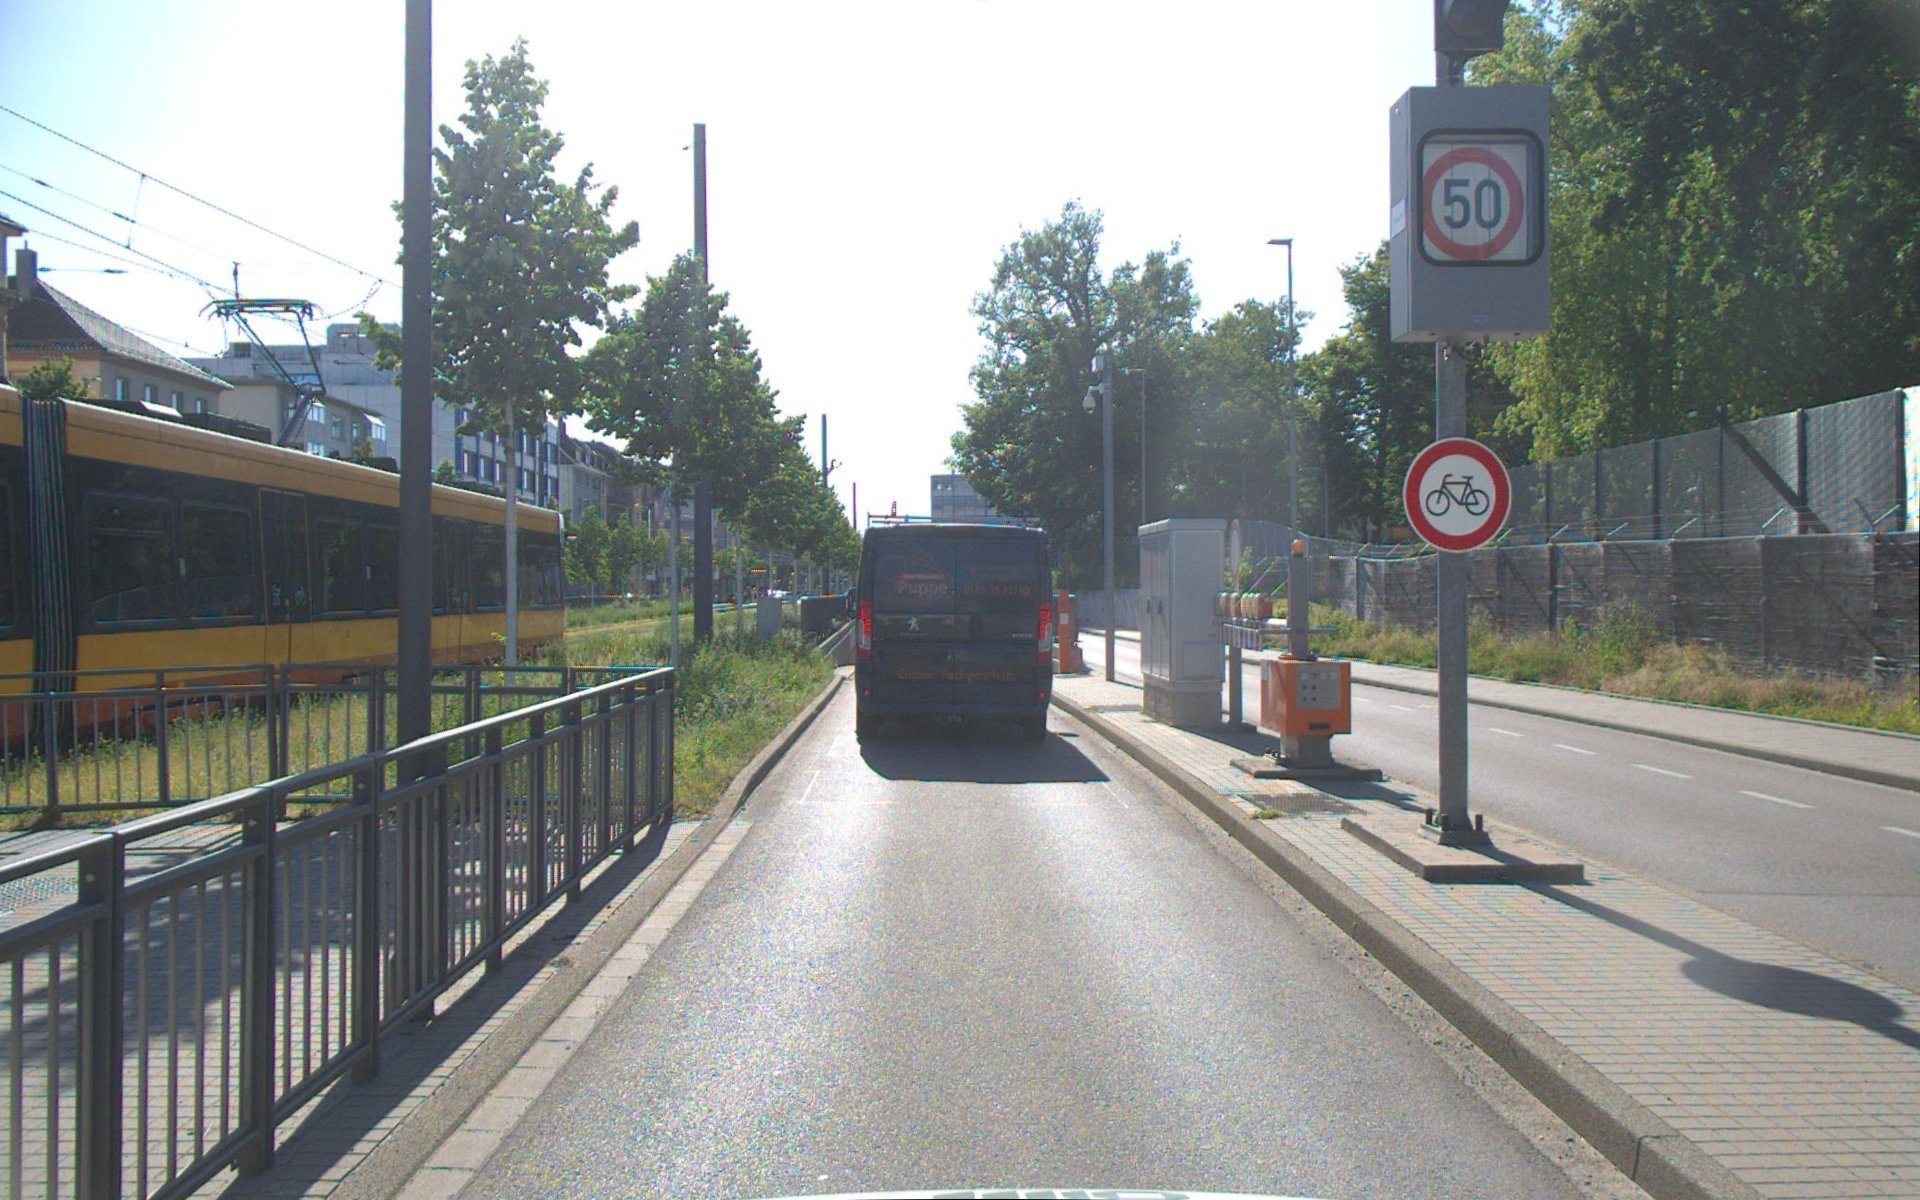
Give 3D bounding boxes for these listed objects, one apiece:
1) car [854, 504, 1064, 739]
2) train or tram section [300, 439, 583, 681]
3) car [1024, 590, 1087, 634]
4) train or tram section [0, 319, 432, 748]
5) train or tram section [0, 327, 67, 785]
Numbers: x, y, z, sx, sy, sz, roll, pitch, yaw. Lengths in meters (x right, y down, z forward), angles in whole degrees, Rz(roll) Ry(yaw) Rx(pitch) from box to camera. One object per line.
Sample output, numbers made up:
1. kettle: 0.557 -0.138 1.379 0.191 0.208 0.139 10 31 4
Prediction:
1. car: -0.076 0.204 18.169 2.040 2.288 3.998 0 0 -2
2. train or tram section: -9.374 -0.644 31.495 1.953 3.733 11.680 0 0 -1
3. car: 3.295 0.392 57.867 1.728 1.488 3.997 0 0 -4
4. train or tram section: -9.020 -0.611 20.036 1.953 3.733 11.312 0 0 -2
5. train or tram section: -8.541 -0.332 7.404 1.953 3.733 14.145 0 0 -2
